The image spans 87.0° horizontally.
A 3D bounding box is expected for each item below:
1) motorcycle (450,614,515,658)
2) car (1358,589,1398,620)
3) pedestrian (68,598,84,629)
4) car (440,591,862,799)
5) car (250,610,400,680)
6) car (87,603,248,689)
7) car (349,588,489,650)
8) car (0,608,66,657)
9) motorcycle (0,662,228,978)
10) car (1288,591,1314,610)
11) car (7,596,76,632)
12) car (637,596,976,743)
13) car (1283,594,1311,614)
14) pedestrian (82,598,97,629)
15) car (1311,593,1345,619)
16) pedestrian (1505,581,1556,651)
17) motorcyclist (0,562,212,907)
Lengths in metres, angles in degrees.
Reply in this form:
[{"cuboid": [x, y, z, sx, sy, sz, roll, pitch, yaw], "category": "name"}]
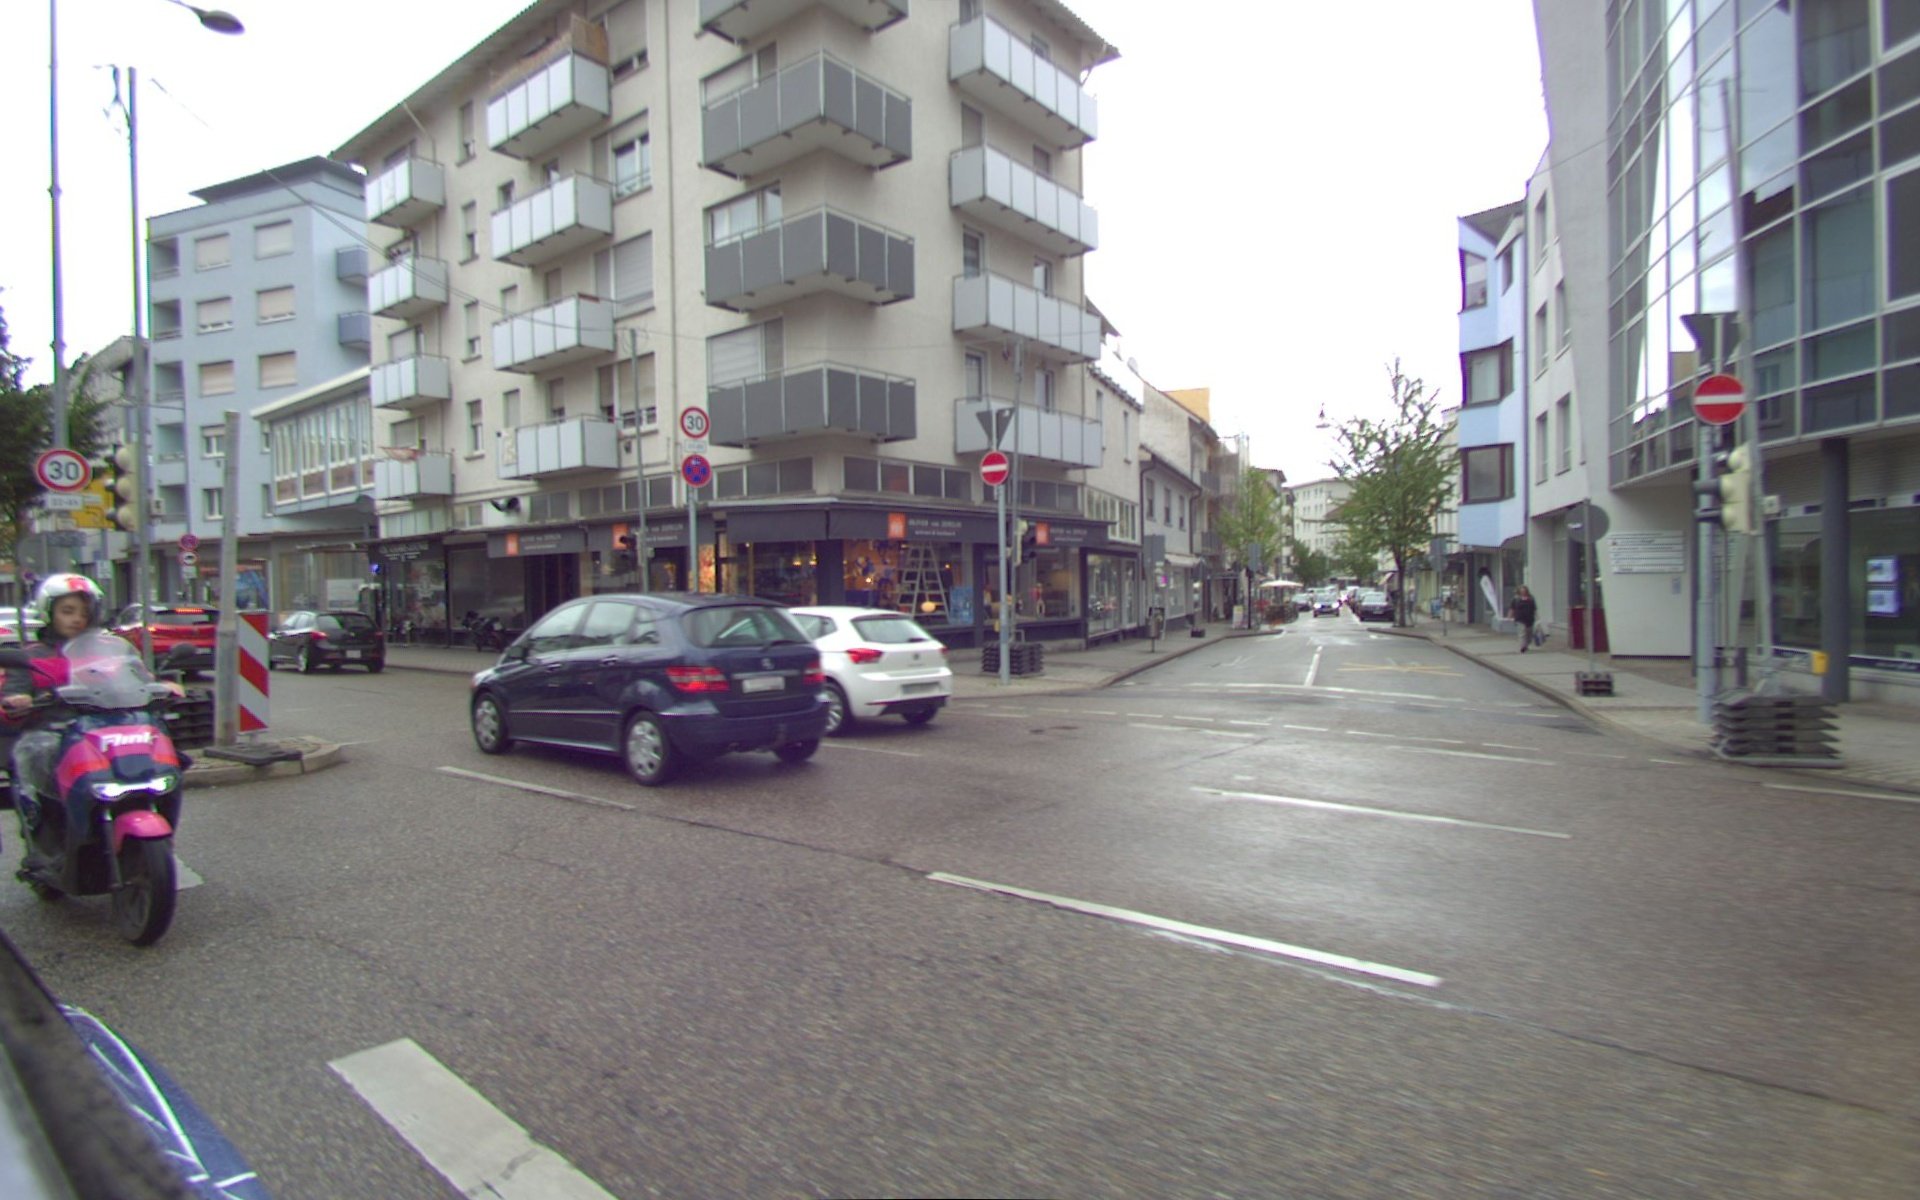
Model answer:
[{"cuboid": [-13.029, 0.956, 27.599, 2.193, 1.095, 0.662, 0, 3, 39], "category": "motorcycle"}, {"cuboid": [23.746, 0.221, 57.513, 1.987, 1.659, 3.970, 0, 1, 23], "category": "car"}, {"cuboid": [-48.130, 0.736, 55.094, 0.531, 1.700, 0.520, 2, 0, 39], "category": "pedestrian"}, {"cuboid": [-3.090, 0.727, 9.662, 4.280, 1.555, 1.811, -1, 0, 40], "category": "car"}, {"cuboid": [-15.012, 0.993, 23.861, 3.996, 1.508, 1.828, 0, -1, 40], "category": "car"}, {"cuboid": [-16.432, 0.866, 20.918, 4.087, 1.606, 1.828, 0, 0, 40], "category": "car"}, {"cuboid": [-19.023, 0.612, 35.672, 1.893, 2.070, 3.946, 0, 0, 40], "category": "car"}, {"cuboid": [-29.591, 0.985, 31.412, 4.606, 1.428, 1.828, -1, -2, 36], "category": "car"}, {"cuboid": [-4.373, 0.940, 4.903, 2.095, 1.200, 0.582, -1, 1, 33], "category": "motorcycle"}, {"cuboid": [31.242, 0.051, 92.636, 1.986, 1.659, 3.971, 0, 1, 22], "category": "car"}, {"cuboid": [-42.818, 0.682, 47.159, 4.022, 1.601, 1.755, -1, -2, 39], "category": "car"}, {"cuboid": [-2.021, 0.736, 12.603, 4.279, 1.535, 1.755, -1, 0, 39], "category": "car"}, {"cuboid": [29.136, 0.332, 87.448, 1.986, 1.659, 3.971, 0, 1, 22], "category": "car"}, {"cuboid": [-47.773, 0.746, 55.520, 0.531, 1.700, 0.506, 2, 0, 39], "category": "pedestrian"}, {"cuboid": [24.833, 0.370, 68.256, 1.986, 1.659, 3.971, 0, 1, 22], "category": "car"}, {"cuboid": [14.217, 0.403, 25.237, 0.890, 1.665, 0.559, -5, -2, 21], "category": "pedestrian"}, {"cuboid": [-4.395, 0.584, 4.938, 0.861, 1.504, 0.908, -1, 1, 32], "category": "motorcyclist"}]
